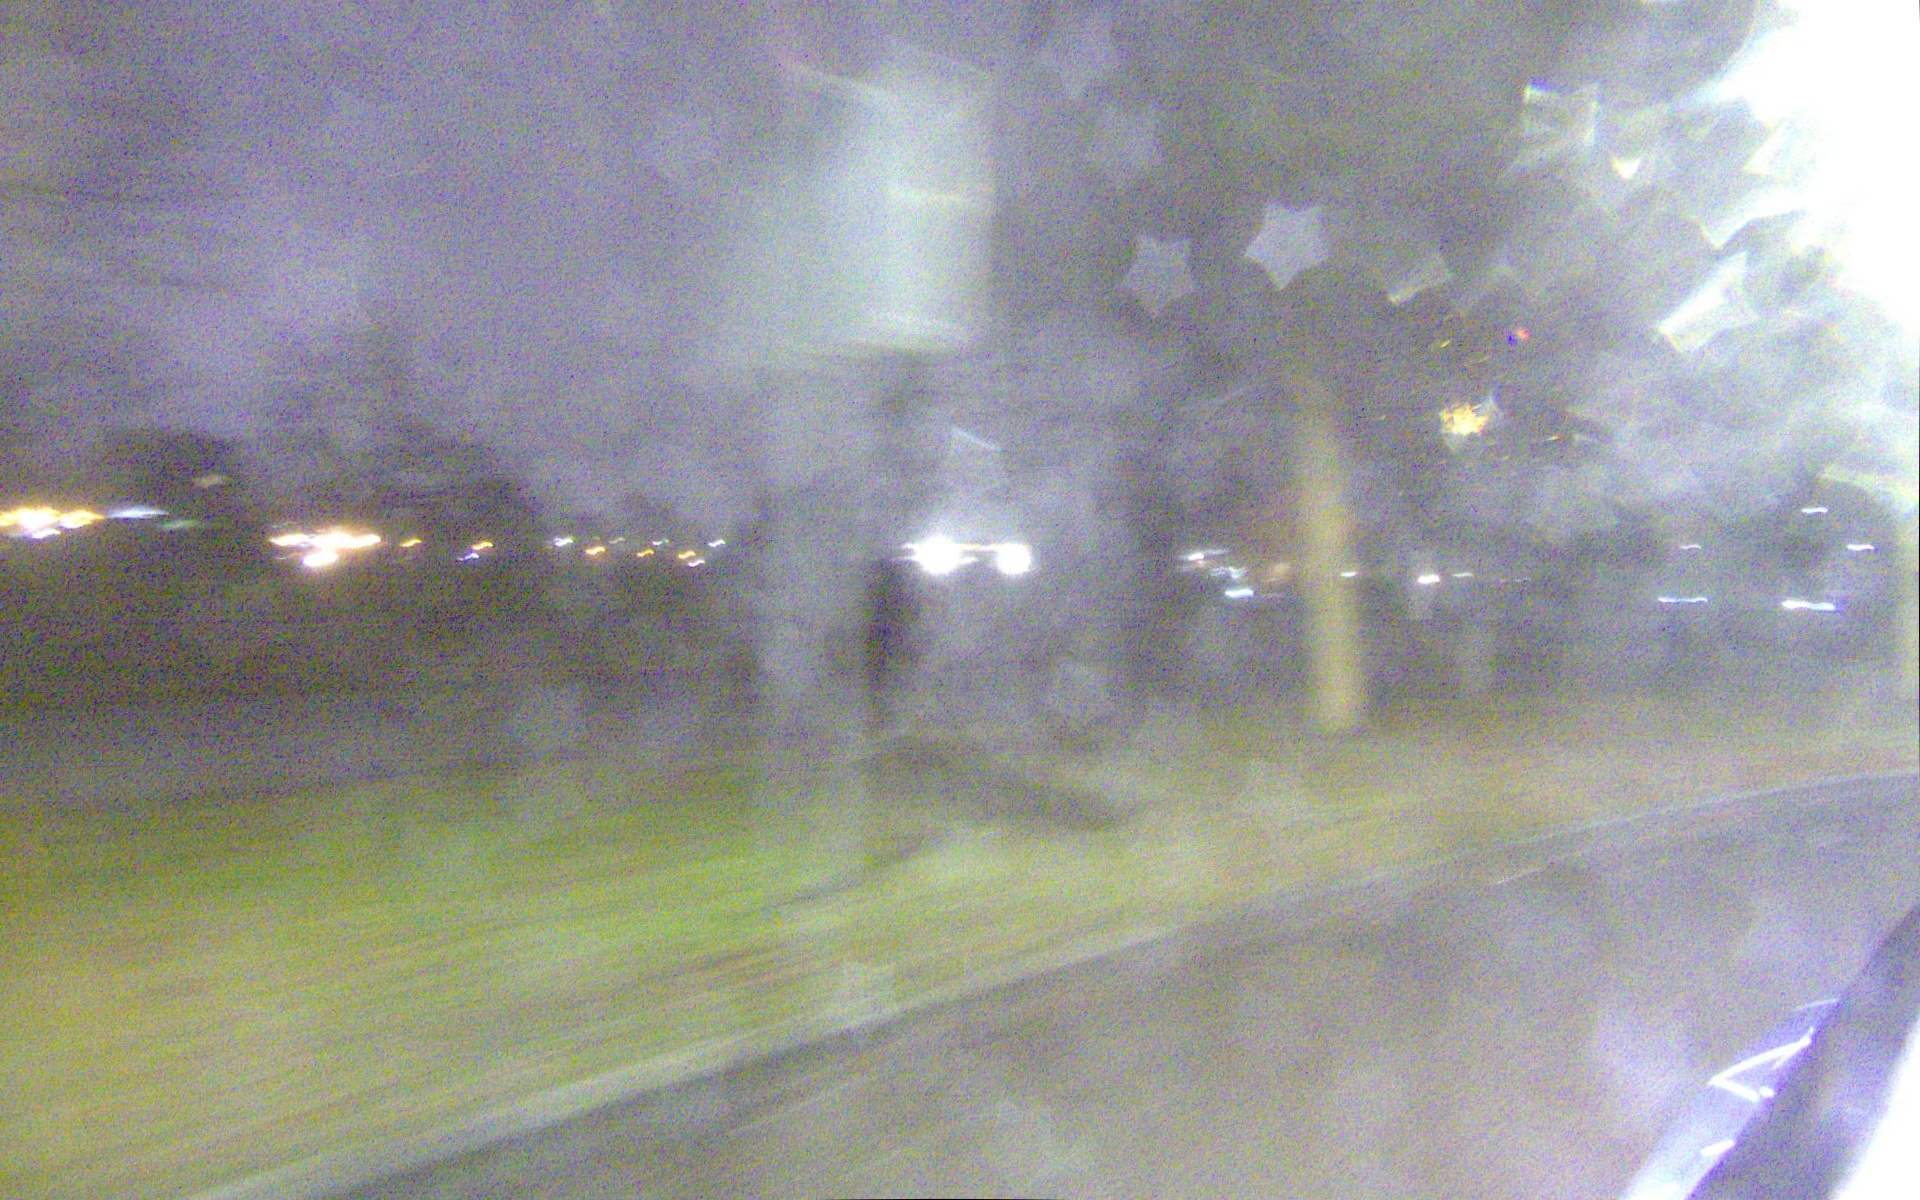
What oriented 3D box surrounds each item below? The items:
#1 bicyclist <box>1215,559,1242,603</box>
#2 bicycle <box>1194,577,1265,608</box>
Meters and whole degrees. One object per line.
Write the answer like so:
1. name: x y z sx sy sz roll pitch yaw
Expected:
1. bicyclist: 8.935 -0.636 33.638 0.605 1.465 0.605 0 1 -38
2. bicycle: 8.929 -0.258 33.623 0.610 0.989 2.420 0 1 -38
